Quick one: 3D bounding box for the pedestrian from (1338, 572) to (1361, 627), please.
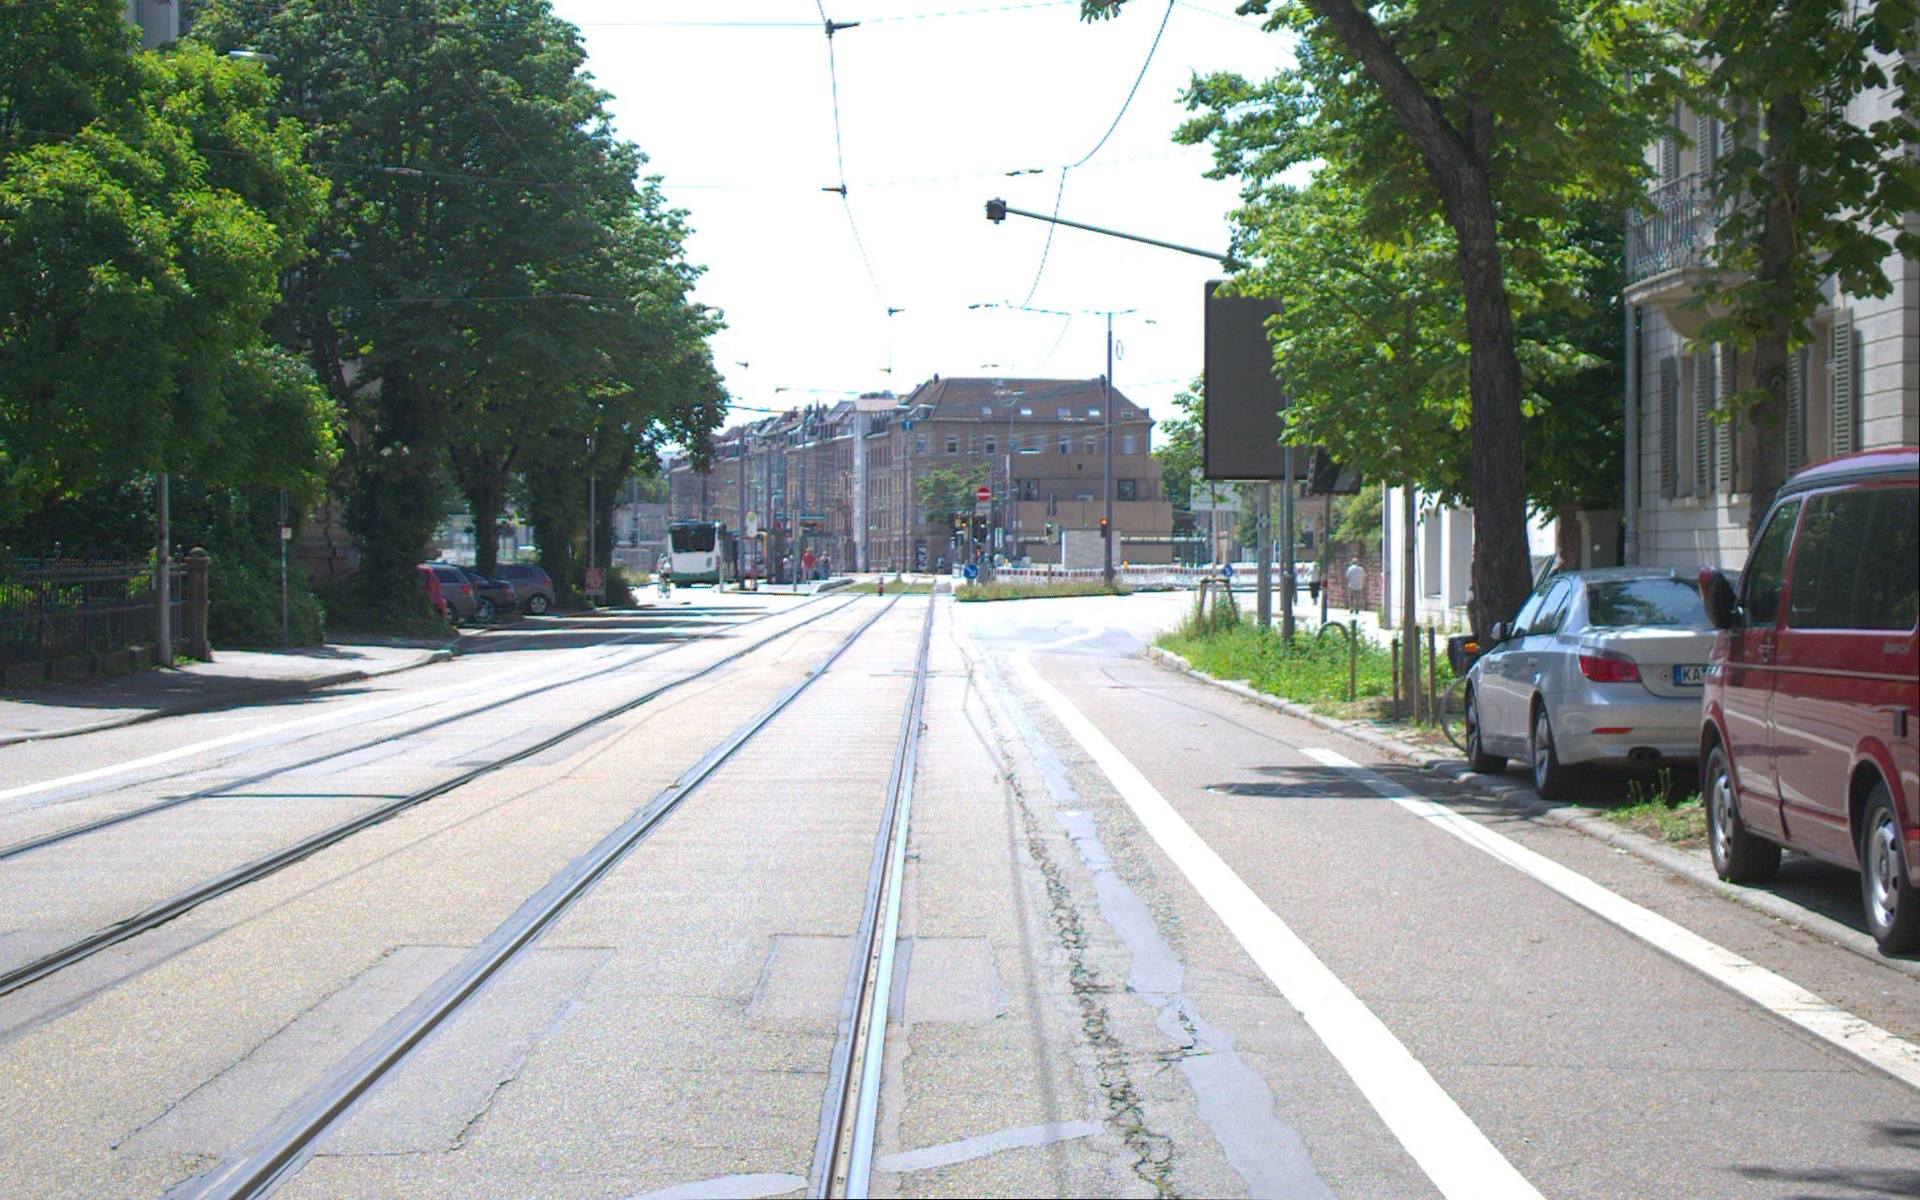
[{"bbox_3d":[11.644,-0.022,102.753,0.661,1.641,0.624,0,1,5],"label":"pedestrian"}]

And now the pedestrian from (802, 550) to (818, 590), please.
[{"bbox_3d":[-7.231,-1.438,165.926,0.672,1.903,0.641,0,1,-10],"label":"pedestrian"}]

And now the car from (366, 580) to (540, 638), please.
[{"bbox_3d":[-12.465,0.214,84.623,3.920,1.369,1.670,0,1,-26],"label":"car"}]

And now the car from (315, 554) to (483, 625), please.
[{"bbox_3d":[-12.544,-0.230,76.877,3.341,1.511,1.670,1,0,-26],"label":"car"}]

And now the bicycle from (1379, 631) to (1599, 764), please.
[{"bbox_3d":[4.125,0.760,26.851,1.658,1.012,0.371,0,0,1],"label":"bicycle"}]

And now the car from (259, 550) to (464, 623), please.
[{"bbox_3d":[-13.825,-0.307,79.458,4.307,1.579,1.669,1,0,-29],"label":"car"}]

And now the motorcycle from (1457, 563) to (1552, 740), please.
[{"bbox_3d":[4.876,0.423,30.664,0.745,1.501,2.557,0,1,11],"label":"motorcycle"}]

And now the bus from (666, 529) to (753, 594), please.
[{"bbox_3d":[-12.723,-1.952,175.918,3.010,3.147,17.498,0,1,0],"label":"bus"}]

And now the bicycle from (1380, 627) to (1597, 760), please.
[{"bbox_3d":[4.197,0.741,27.349,1.658,1.012,0.371,0,4,1],"label":"bicycle"}]

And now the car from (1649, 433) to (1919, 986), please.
[{"bbox_3d":[4.429,0.389,14.926,1.859,2.007,4.976,1,0,0],"label":"car"}]

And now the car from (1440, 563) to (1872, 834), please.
[{"bbox_3d":[4.448,0.559,22.733,1.859,1.572,4.877,1,1,0],"label":"car"}]
